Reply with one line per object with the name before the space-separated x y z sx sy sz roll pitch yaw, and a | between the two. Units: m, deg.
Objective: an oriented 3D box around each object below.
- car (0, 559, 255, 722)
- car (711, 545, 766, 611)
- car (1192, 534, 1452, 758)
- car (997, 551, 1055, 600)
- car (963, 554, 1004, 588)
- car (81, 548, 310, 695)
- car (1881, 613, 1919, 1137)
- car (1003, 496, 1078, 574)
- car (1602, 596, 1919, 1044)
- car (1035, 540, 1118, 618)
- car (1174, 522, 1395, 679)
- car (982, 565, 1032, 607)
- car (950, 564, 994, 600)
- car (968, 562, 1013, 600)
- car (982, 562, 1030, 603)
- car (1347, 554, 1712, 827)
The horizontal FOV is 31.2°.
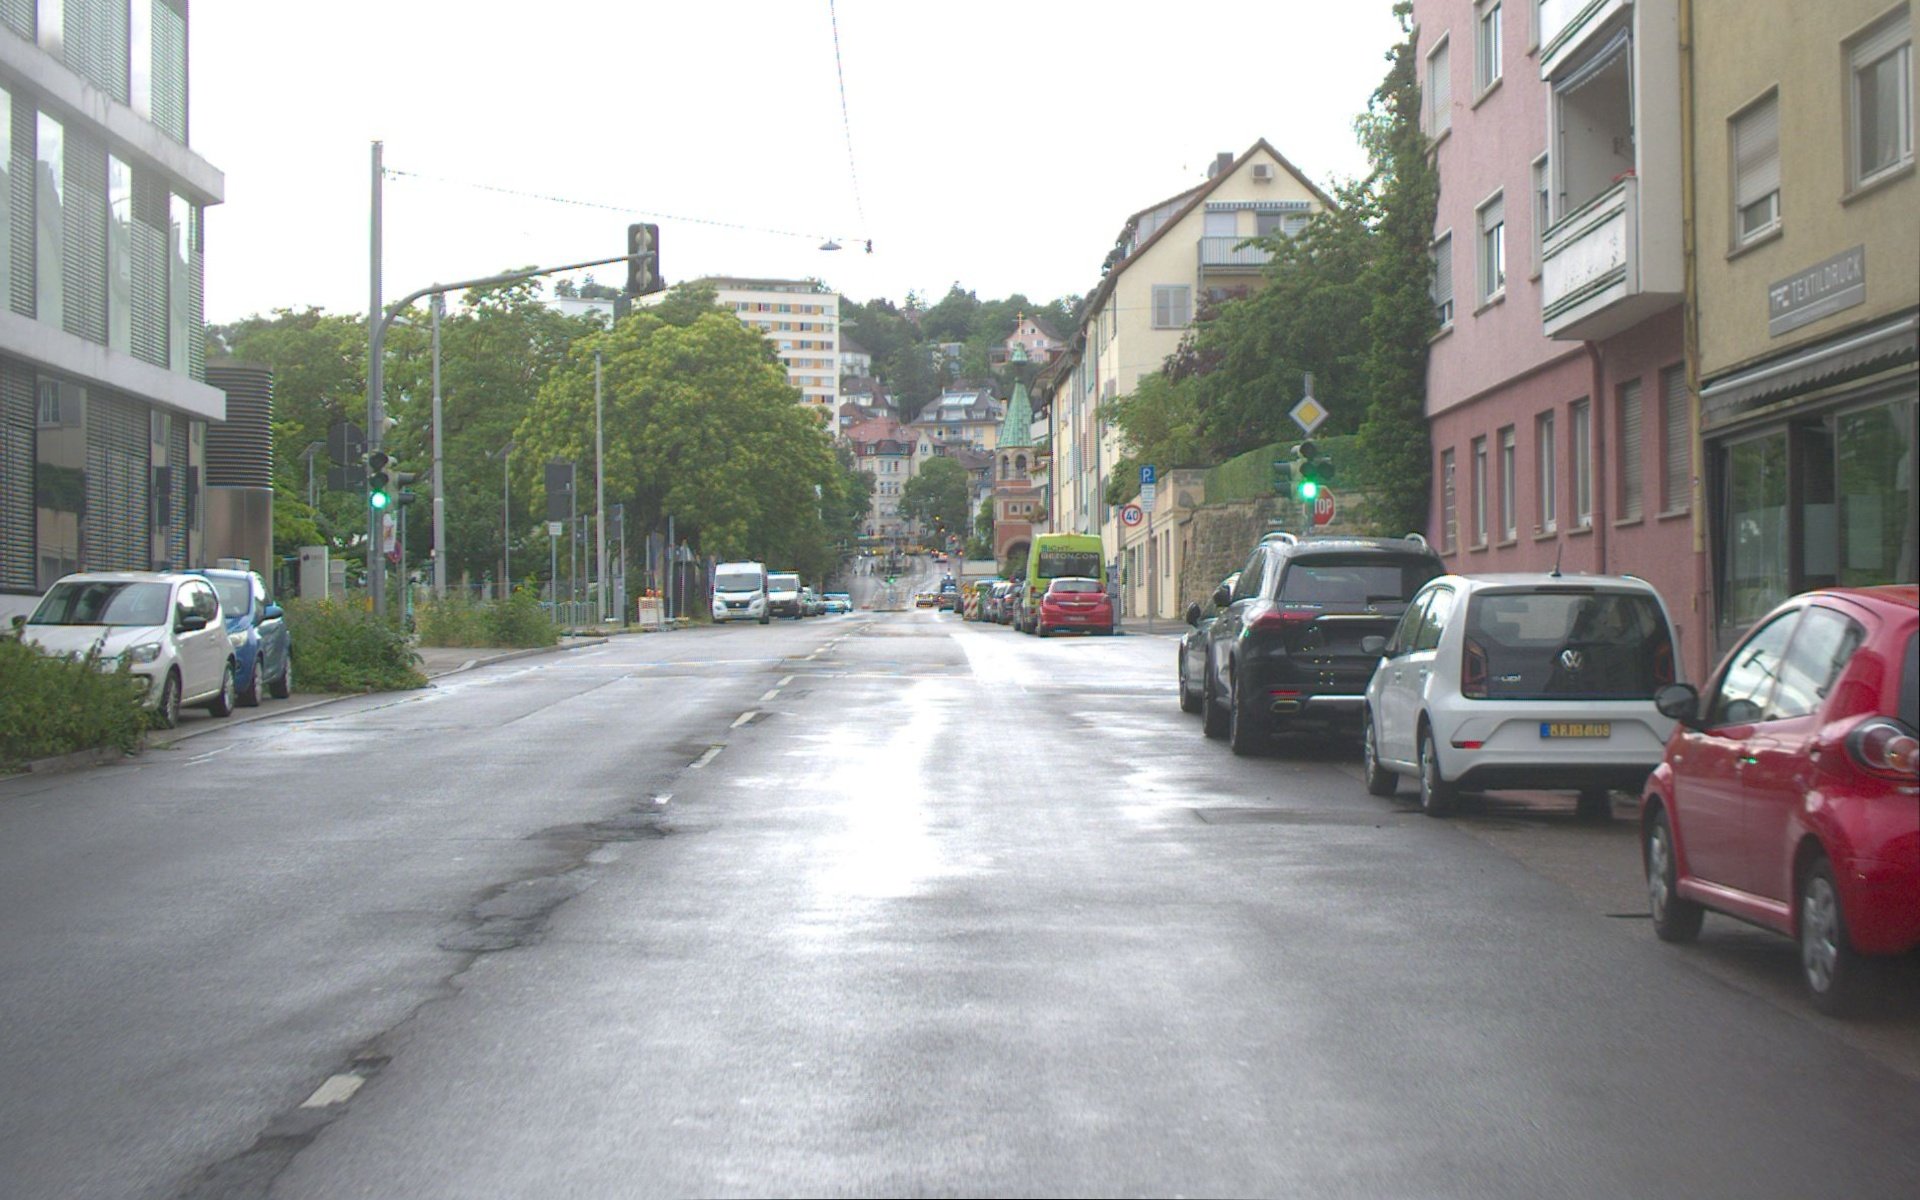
car | -8.185 0.357 34.022 1.595 1.454 3.719 0 2 1
car | -8.707 -0.893 135.529 2.105 2.538 4.751 0 1 -3
car | 2.934 0.327 28.611 1.654 1.732 4.180 0 1 -1
car | 2.236 -0.823 115.408 1.867 1.598 4.189 0 1 2
car | 1.161 -1.441 169.148 1.867 1.598 4.189 0 1 2
car | -8.620 0.198 39.086 1.866 1.520 4.197 0 2 -3
car | 3.553 0.802 7.946 1.706 1.449 3.985 0 1 -1
car | 2.113 -1.669 89.198 1.867 1.966 4.189 0 1 2
car | 3.610 0.724 13.087 1.582 1.409 3.654 0 1 -1
car | 2.724 -0.498 80.070 1.867 1.764 4.189 0 1 2
car | 3.195 -0.035 34.462 1.781 1.405 3.763 -2 2 -1
car | 1.859 -0.559 134.773 1.867 1.598 4.189 0 1 2
car | 0.575 -0.828 158.298 1.867 1.598 4.189 0 1 2
car | 1.345 -0.830 150.129 1.867 1.598 4.189 0 1 2
car | 1.890 -0.722 139.807 1.867 1.598 4.189 0 1 2
car | 3.525 0.502 21.875 1.635 1.566 3.711 0 1 -1
